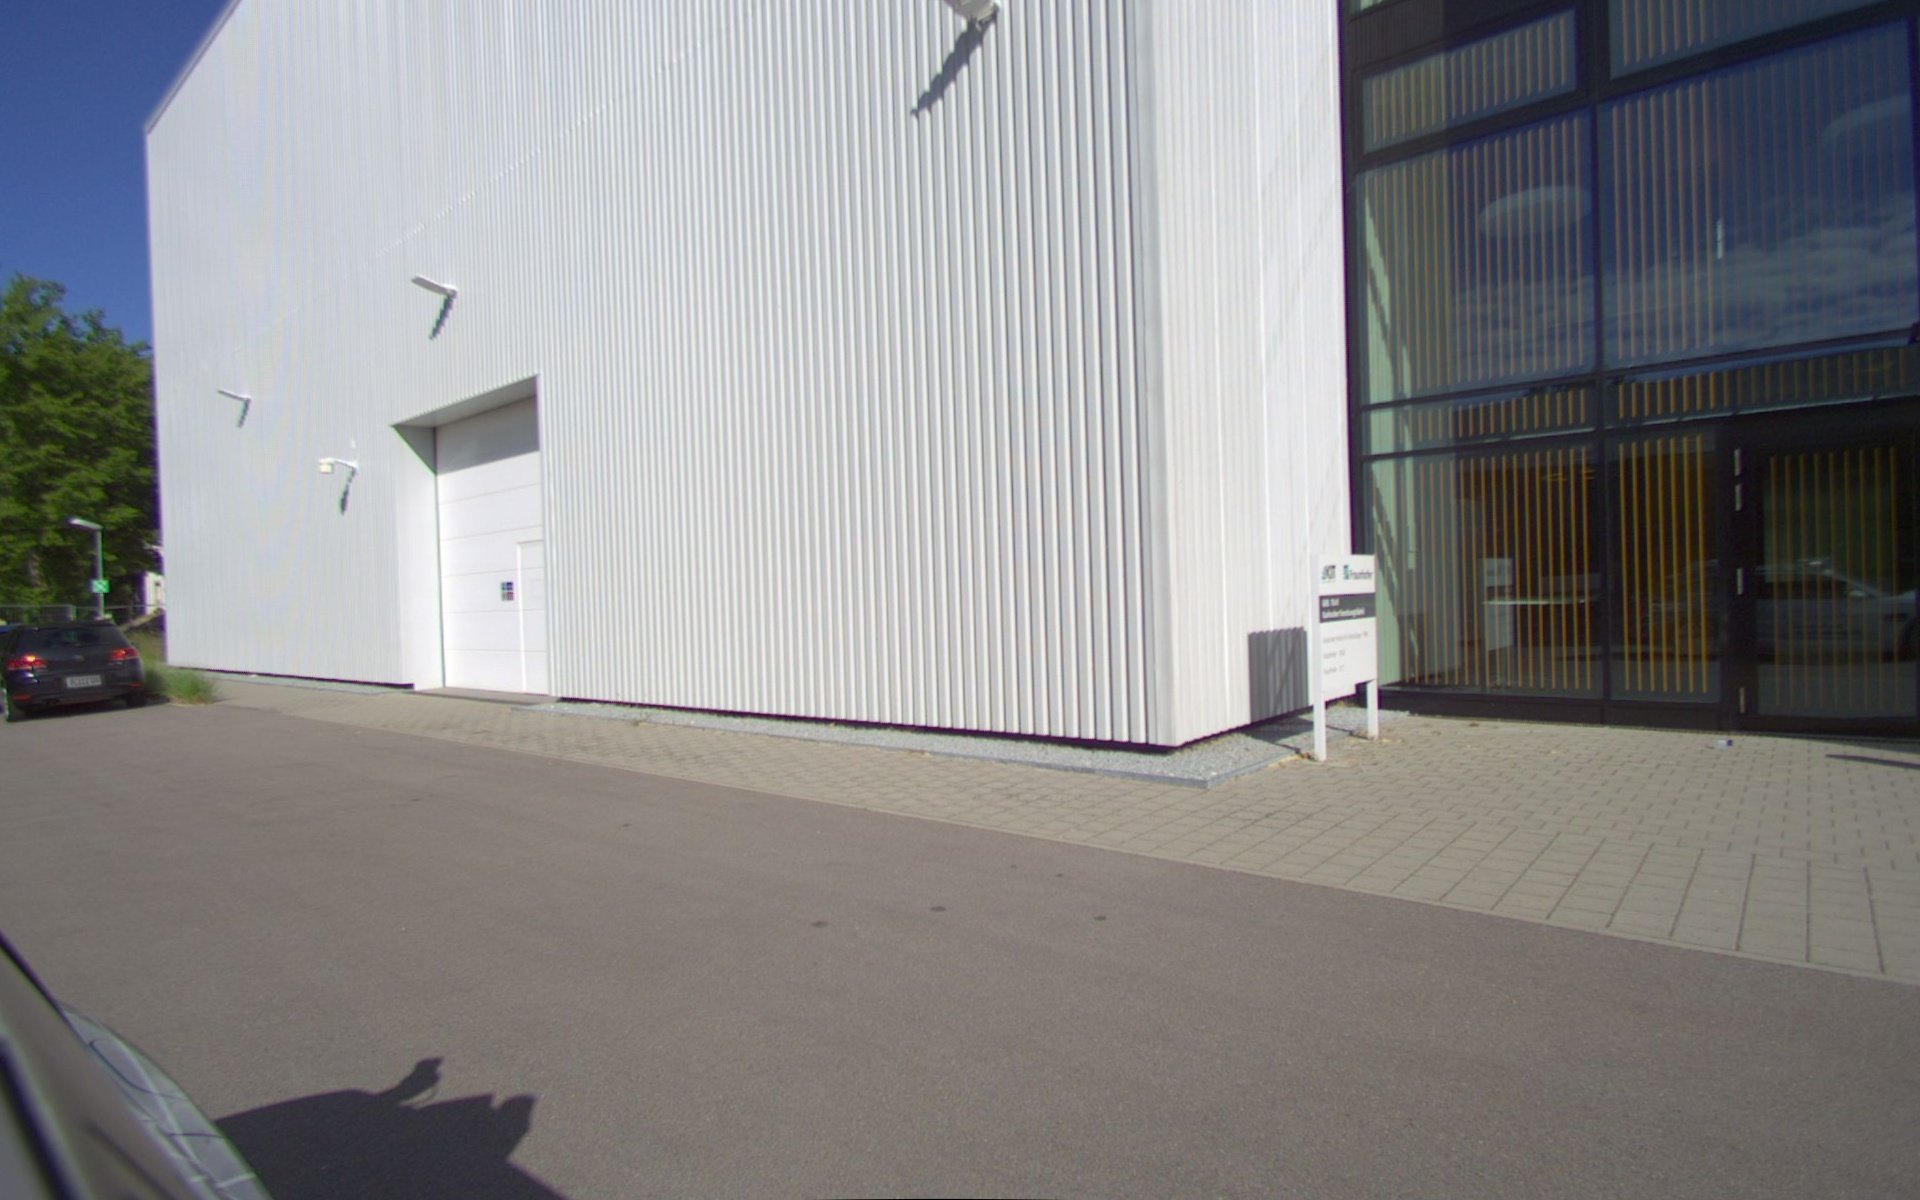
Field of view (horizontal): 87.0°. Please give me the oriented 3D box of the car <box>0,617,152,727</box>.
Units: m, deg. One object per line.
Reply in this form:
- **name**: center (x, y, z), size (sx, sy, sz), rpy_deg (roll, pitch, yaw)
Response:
- **car**: center (-14.908, 1.118, 16.644), size (4.312, 1.456, 1.738), rpy_deg (-3, 2, 41)

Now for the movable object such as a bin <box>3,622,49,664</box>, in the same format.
- **movable object such as a bin**: center (-33.811, 1.553, 36.639), size (1.279, 1.489, 1.126), rpy_deg (-3, -3, 41)

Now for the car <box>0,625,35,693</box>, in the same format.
- **car**: center (-22.762, 1.395, 23.222), size (3.794, 1.459, 1.695), rpy_deg (-3, 1, 39)

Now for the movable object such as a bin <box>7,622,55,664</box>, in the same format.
- **movable object such as a bin**: center (-32.794, 1.515, 35.732), size (1.288, 1.445, 1.126), rpy_deg (-2, -2, 41)

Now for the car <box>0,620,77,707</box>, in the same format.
- **car**: center (-18.573, 1.236, 19.651), size (3.518, 1.499, 1.533), rpy_deg (-3, 1, 39)
